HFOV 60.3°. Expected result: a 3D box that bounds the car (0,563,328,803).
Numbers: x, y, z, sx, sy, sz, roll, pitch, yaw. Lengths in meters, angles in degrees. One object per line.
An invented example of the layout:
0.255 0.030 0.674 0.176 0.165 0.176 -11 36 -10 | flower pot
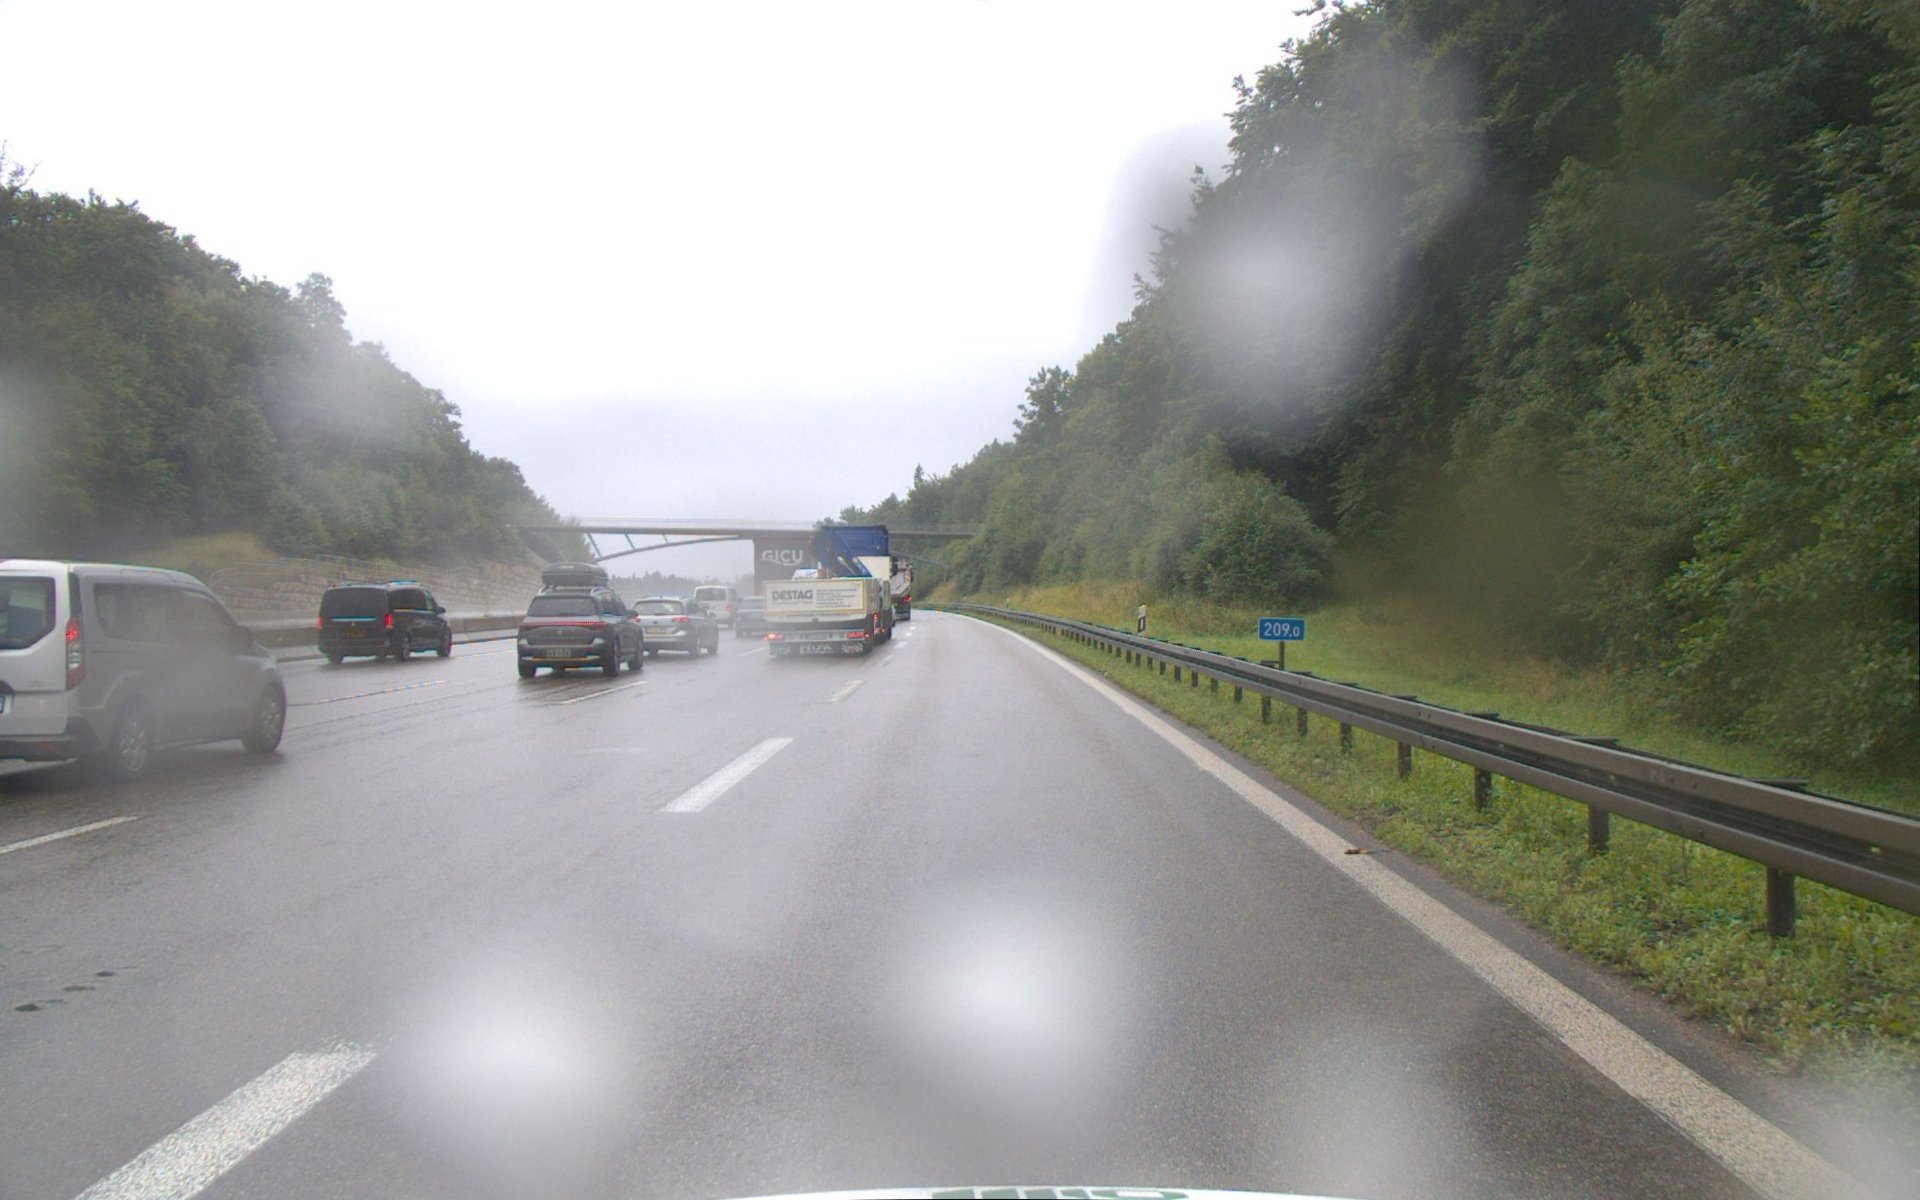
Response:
-7.473 0.620 14.662 1.807 1.781 4.568 -1 0 2 | car

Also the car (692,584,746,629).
-11.126 0.323 76.582 1.806 1.892 4.000 3 -1 1 | car

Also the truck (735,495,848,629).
-7.725 -1.575 77.706 3.677 5.595 10.173 3 -1 2 | truck

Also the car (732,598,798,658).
-7.158 1.062 61.008 1.756 2.049 4.000 3 -1 2 | car

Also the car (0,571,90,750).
-10.821 0.627 16.546 1.952 1.830 4.155 0 0 1 | car

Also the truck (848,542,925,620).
-4.298 -1.022 99.416 3.678 4.040 11.059 3 -1 1 | truck

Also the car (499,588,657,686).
-7.270 0.721 31.868 1.953 1.665 4.000 3 -1 1 | car

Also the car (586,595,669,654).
-10.040 0.710 50.182 1.719 1.676 4.000 0 0 0 | car

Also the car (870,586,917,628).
-3.142 0.362 79.321 1.953 1.831 4.000 3 -1 1 | car

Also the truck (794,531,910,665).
-3.834 0.044 61.420 3.436 4.342 10.601 3 -1 0 | truck

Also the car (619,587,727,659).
-7.097 0.529 41.219 1.898 1.691 4.001 0 0 1 | car

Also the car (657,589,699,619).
-15.517 0.231 91.133 1.589 1.473 3.760 3 -1 1 | car

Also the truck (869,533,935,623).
-4.091 -1.462 119.378 4.248 5.864 9.728 3 -1 -1 | truck

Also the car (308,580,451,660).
-14.304 0.466 41.033 1.888 1.864 4.587 0 0 1 | car

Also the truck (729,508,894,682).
-3.823 -0.143 45.772 3.526 4.177 11.559 0 0 0 | truck
